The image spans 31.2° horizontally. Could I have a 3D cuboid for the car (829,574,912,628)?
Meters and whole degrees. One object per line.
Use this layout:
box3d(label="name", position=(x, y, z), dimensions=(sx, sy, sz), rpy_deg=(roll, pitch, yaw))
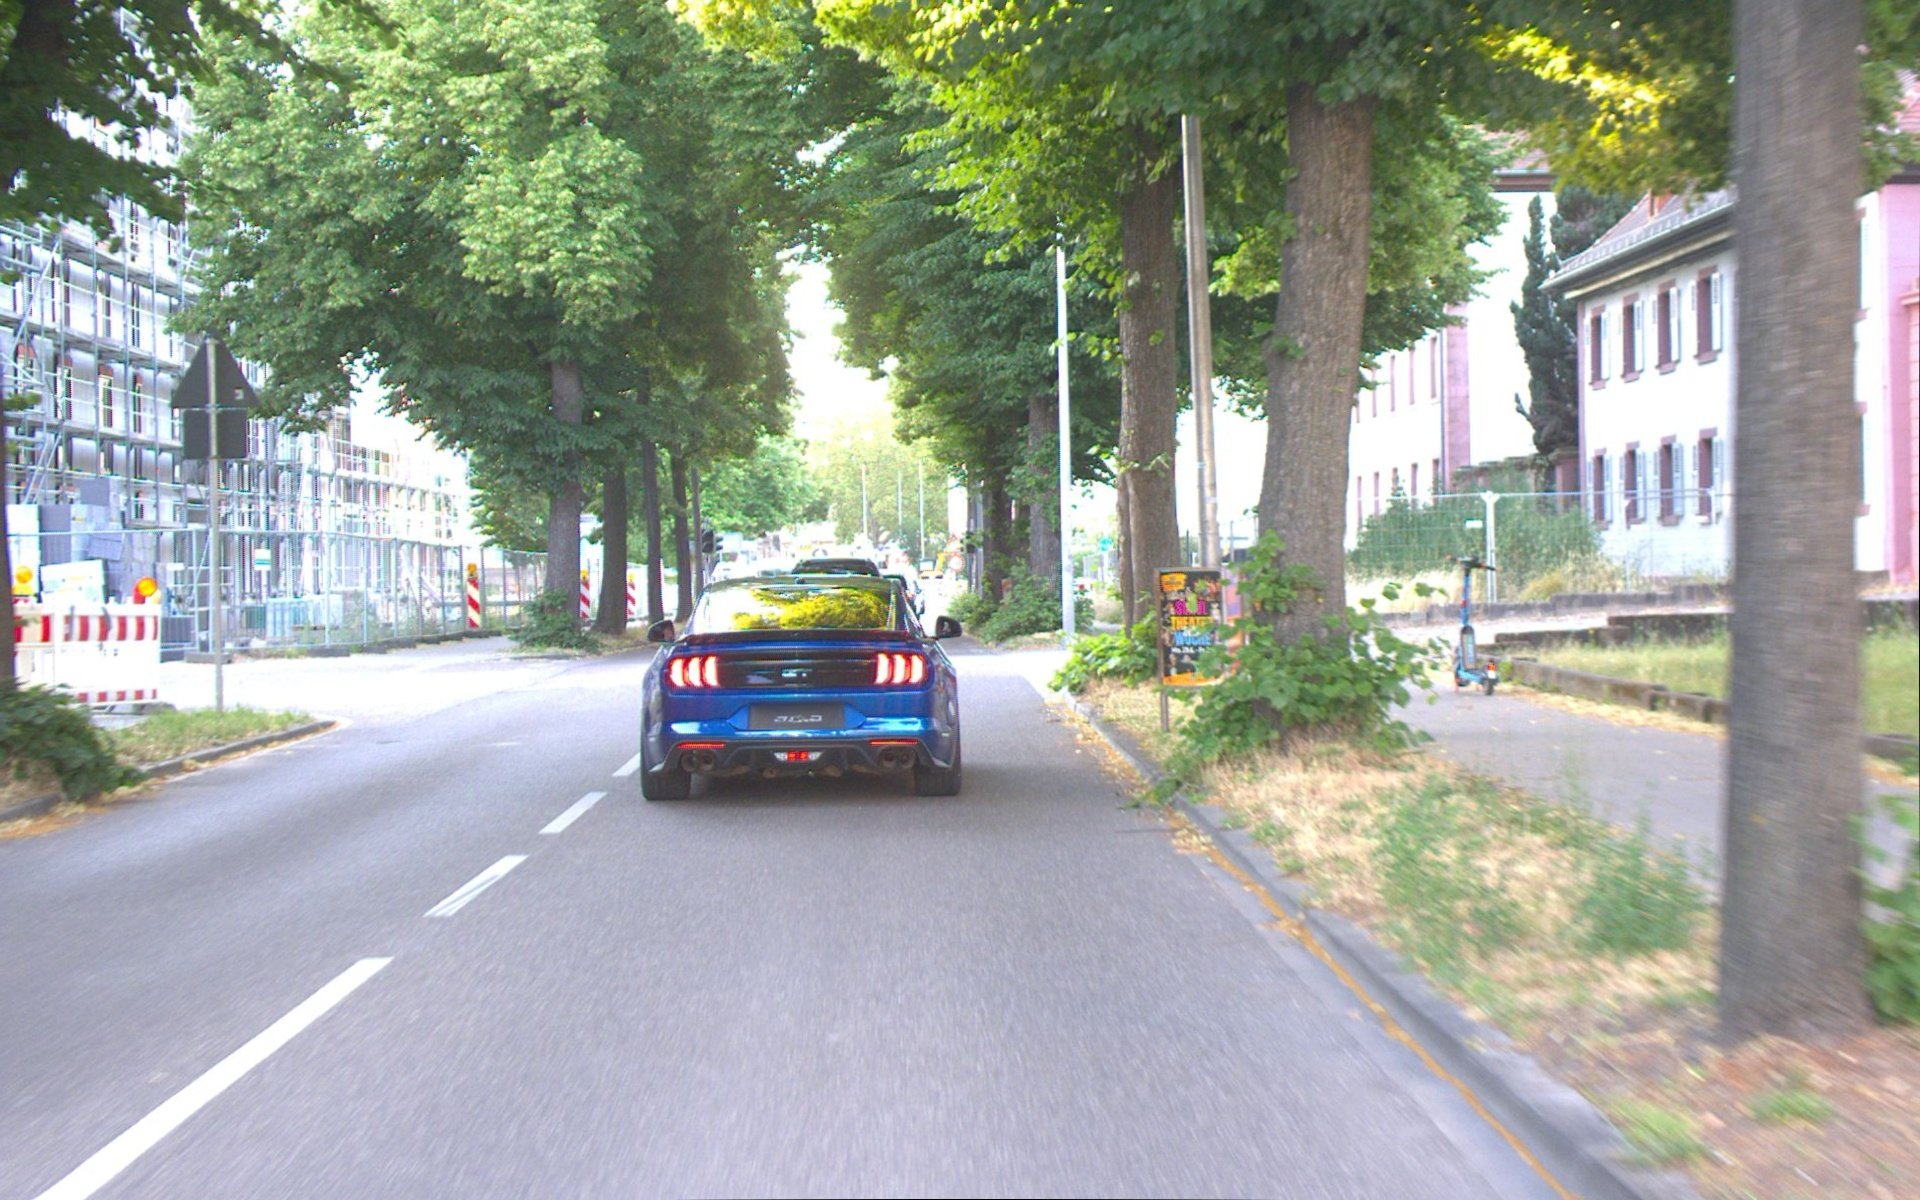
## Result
box3d(label="car", position=(-2.281, 0.020, 88.216), dimensions=(1.947, 1.322, 4.000), rpy_deg=(1, 1, 1))

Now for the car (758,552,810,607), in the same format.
box3d(label="car", position=(-8.932, -1.054, 174.982), dimensions=(2.492, 2.687, 5.831), rpy_deg=(-1, 0, -2))

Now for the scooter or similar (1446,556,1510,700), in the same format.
box3d(label="scooter or similar", position=(4.667, 0.250, 31.014), dimensions=(0.239, 1.272, 1.267), rpy_deg=(-1, 0, -6))

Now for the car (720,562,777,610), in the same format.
box3d(label="car", position=(-10.031, -0.663, 163.415), dimensions=(2.336, 2.190, 5.309), rpy_deg=(-1, 1, 1))

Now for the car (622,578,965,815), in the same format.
box3d(label="car", position=(-0.994, 0.541, 21.708), dimensions=(1.947, 1.322, 4.000), rpy_deg=(1, 1, -1))

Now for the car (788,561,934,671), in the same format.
box3d(label="car", position=(-1.405, 0.208, 50.237), dimensions=(1.947, 1.522, 4.000), rpy_deg=(1, 0, 1))
